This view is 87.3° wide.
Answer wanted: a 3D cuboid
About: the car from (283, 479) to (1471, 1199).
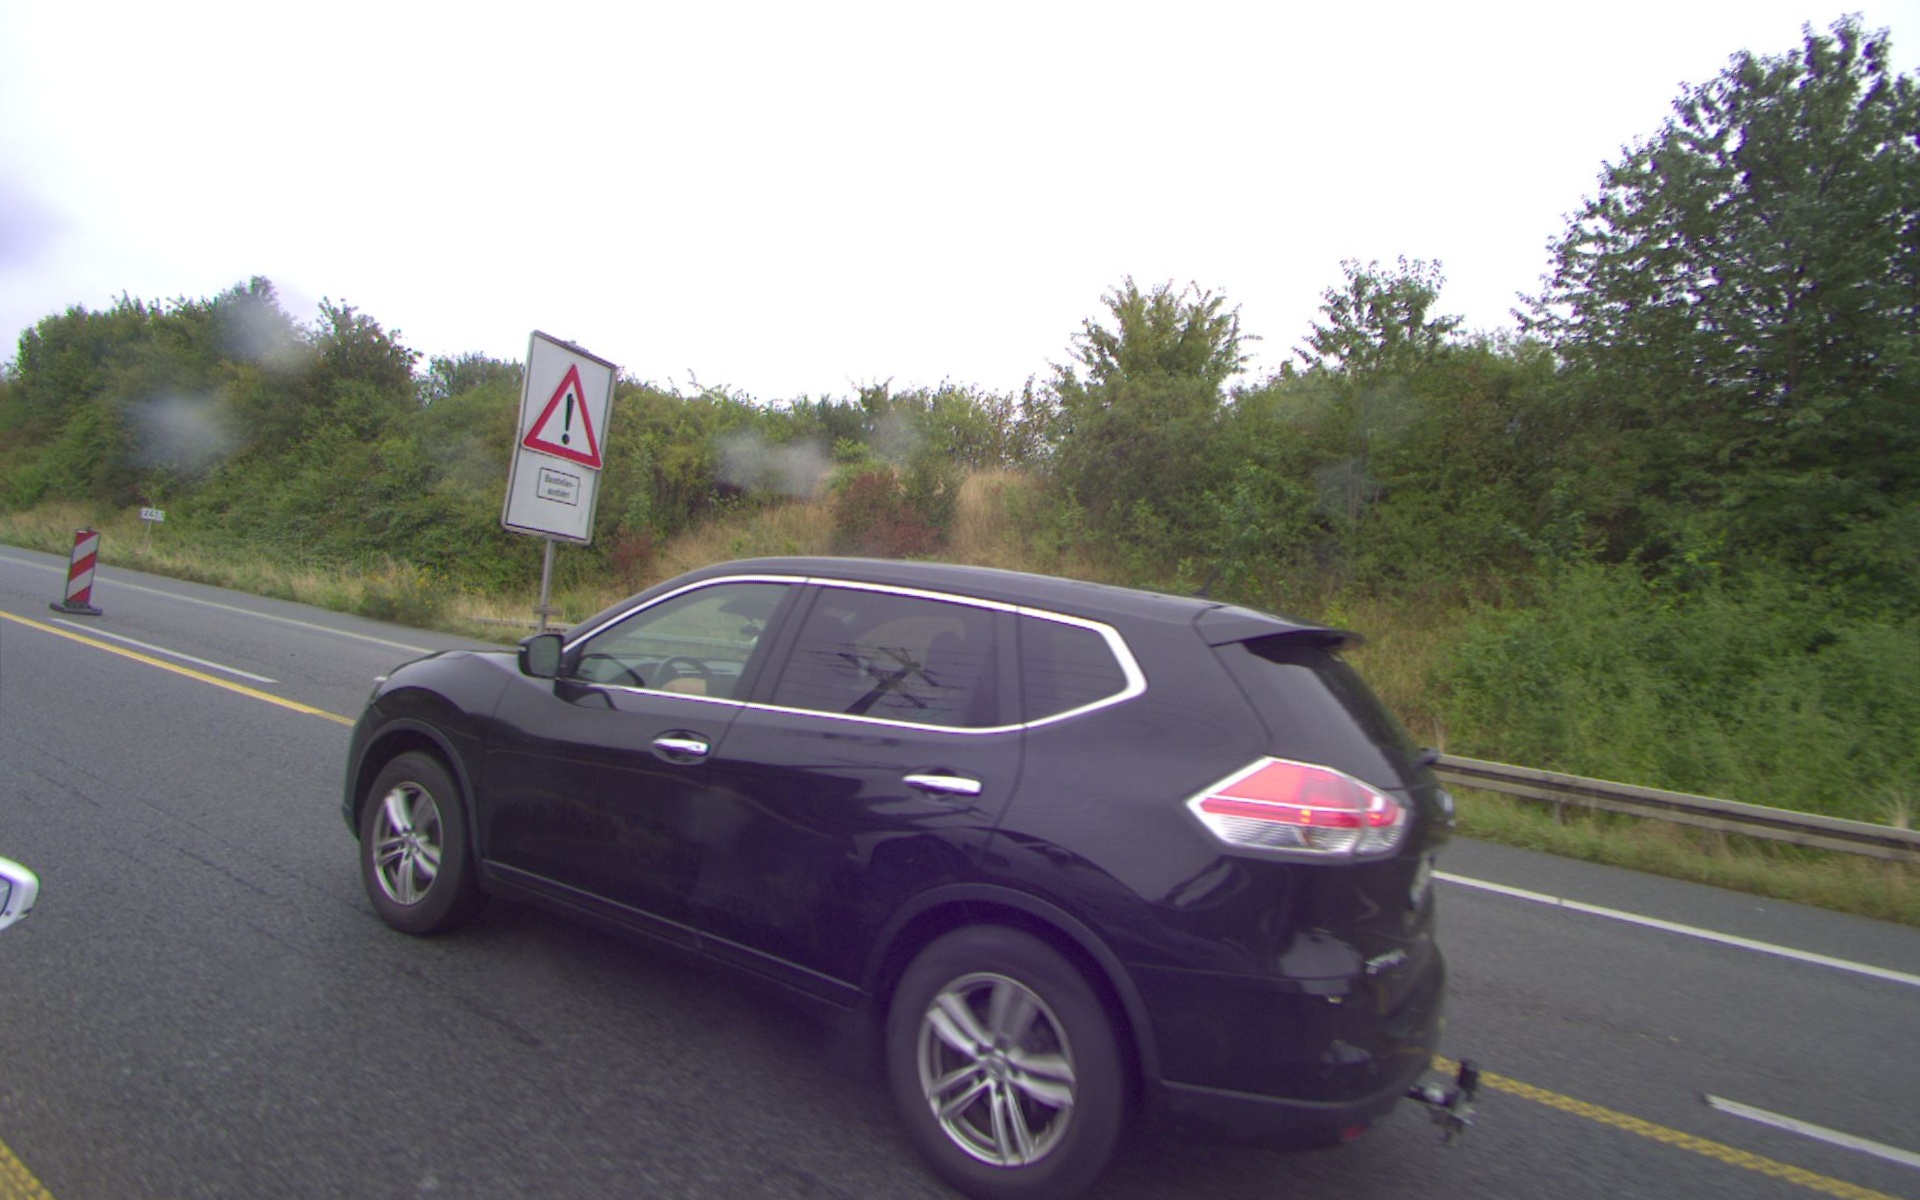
[{"bbox_3d":[-0.515,0.609,3.876,4.208,1.678,1.688,7,-1,30],"label":"car"}]
